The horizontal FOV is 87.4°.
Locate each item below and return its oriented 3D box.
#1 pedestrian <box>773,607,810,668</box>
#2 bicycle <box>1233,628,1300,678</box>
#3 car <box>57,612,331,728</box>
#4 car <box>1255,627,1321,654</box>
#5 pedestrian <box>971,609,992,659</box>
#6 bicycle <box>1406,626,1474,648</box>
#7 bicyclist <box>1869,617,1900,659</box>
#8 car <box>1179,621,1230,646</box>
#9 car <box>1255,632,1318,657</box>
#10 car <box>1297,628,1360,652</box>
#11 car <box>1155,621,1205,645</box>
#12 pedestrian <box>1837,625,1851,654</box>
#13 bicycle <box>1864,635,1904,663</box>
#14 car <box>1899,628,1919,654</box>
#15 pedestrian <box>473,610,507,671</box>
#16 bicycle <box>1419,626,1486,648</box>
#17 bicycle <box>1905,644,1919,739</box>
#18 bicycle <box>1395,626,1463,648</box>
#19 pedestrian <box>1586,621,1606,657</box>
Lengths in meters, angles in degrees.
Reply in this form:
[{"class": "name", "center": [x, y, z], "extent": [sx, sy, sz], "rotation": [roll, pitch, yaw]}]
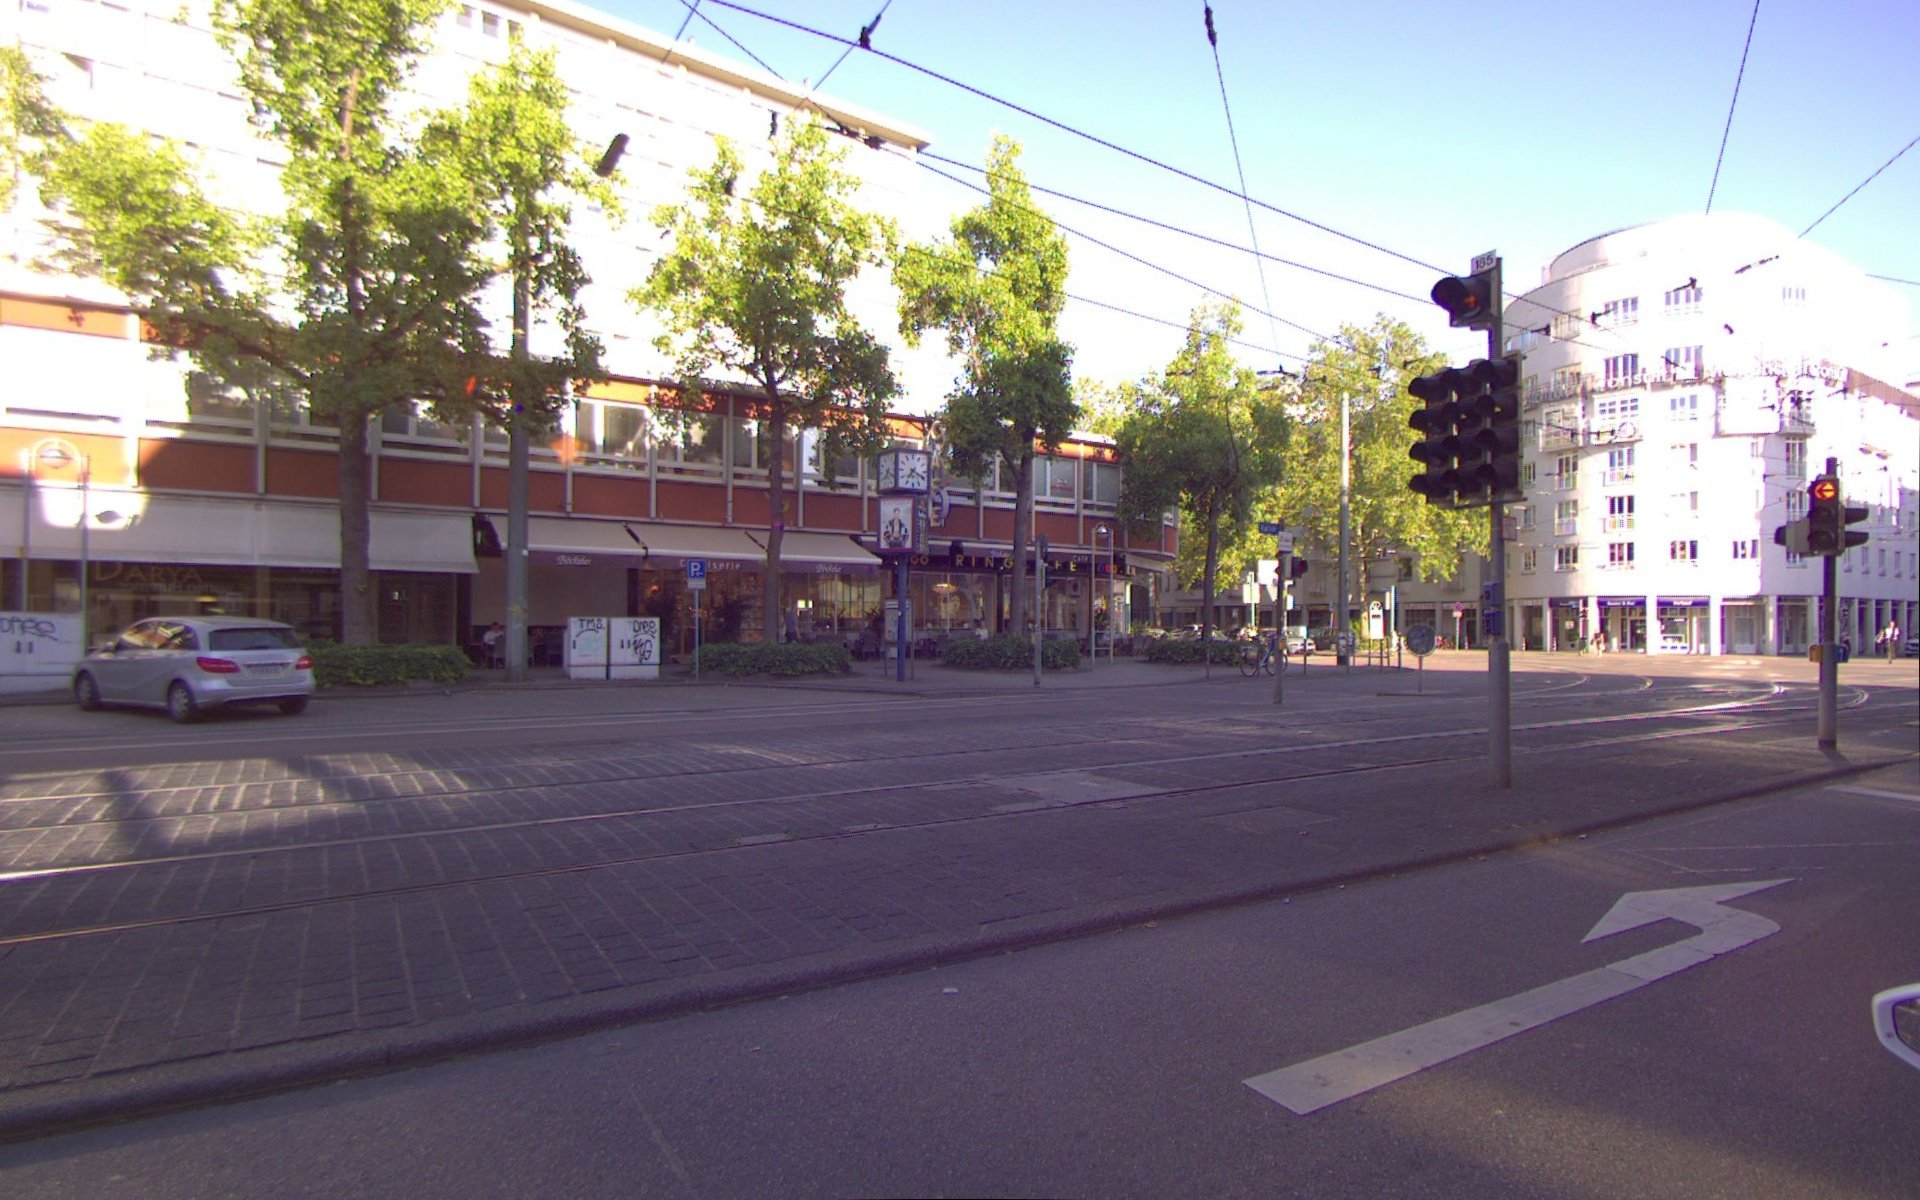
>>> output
[{"class": "pedestrian", "center": [-4.950, 1.094, 29.499], "extent": [0.866, 1.745, 0.700], "rotation": [0, 1, -34]}, {"class": "bicycle", "center": [8.644, 1.485, 28.311], "extent": [1.884, 1.345, 0.667], "rotation": [1, 1, -31]}, {"class": "car", "center": [-12.453, 1.051, 16.313], "extent": [4.200, 1.587, 1.825], "rotation": [1, -1, 26]}, {"class": "car", "center": [19.436, 2.374, 59.639], "extent": [1.605, 1.579, 4.000], "rotation": [0, -2, -20]}, {"class": "pedestrian", "center": [0.749, 1.197, 35.685], "extent": [0.590, 1.745, 0.647], "rotation": [0, 1, -14]}, {"class": "bicycle", "center": [34.626, 2.651, 72.534], "extent": [1.054, 1.550, 4.683], "rotation": [1, -2, -29]}, {"class": "bicyclist", "center": [39.398, 1.611, 42.821], "extent": [0.786, 1.749, 0.803], "rotation": [1, -1, -33]}, {"class": "car", "center": [20.483, 2.793, 84.260], "extent": [3.954, 1.990, 1.984], "rotation": [1, -1, -31]}, {"class": "car", "center": [17.643, 2.379, 54.474], "extent": [1.738, 1.312, 4.014], "rotation": [0, -2, -7]}, {"class": "car", "center": [24.843, 2.689, 67.804], "extent": [1.596, 1.551, 3.972], "rotation": [0, -1, -27]}, {"class": "car", "center": [18.985, 2.836, 86.760], "extent": [3.954, 1.990, 1.984], "rotation": [1, -1, -31]}, {"class": "pedestrian", "center": [52.330, 2.343, 59.460], "extent": [0.482, 1.704, 0.519], "rotation": [1, -2, -40]}, {"class": "bicycle", "center": [39.353, 2.081, 42.778], "extent": [2.028, 1.162, 0.803], "rotation": [1, -2, -34]}, {"class": "car", "center": [59.151, 2.501, 61.419], "extent": [3.423, 1.566, 1.756], "rotation": [1, -2, -33]}, {"class": "pedestrian", "center": [-12.402, 1.065, 26.496], "extent": [0.699, 1.584, 0.867], "rotation": [1, -1, -33]}, {"class": "bicycle", "center": [35.913, 2.690, 73.371], "extent": [1.054, 1.550, 4.683], "rotation": [1, -2, -29]}, {"class": "bicycle", "center": [13.086, 1.180, 12.404], "extent": [1.993, 1.193, 0.626], "rotation": [1, 0, 39]}, {"class": "bicycle", "center": [33.599, 2.645, 72.062], "extent": [1.054, 1.550, 4.683], "rotation": [1, -2, -29]}, {"class": "pedestrian", "center": [37.173, 2.276, 58.689], "extent": [0.930, 2.040, 0.939], "rotation": [0, -1, 29]}]
